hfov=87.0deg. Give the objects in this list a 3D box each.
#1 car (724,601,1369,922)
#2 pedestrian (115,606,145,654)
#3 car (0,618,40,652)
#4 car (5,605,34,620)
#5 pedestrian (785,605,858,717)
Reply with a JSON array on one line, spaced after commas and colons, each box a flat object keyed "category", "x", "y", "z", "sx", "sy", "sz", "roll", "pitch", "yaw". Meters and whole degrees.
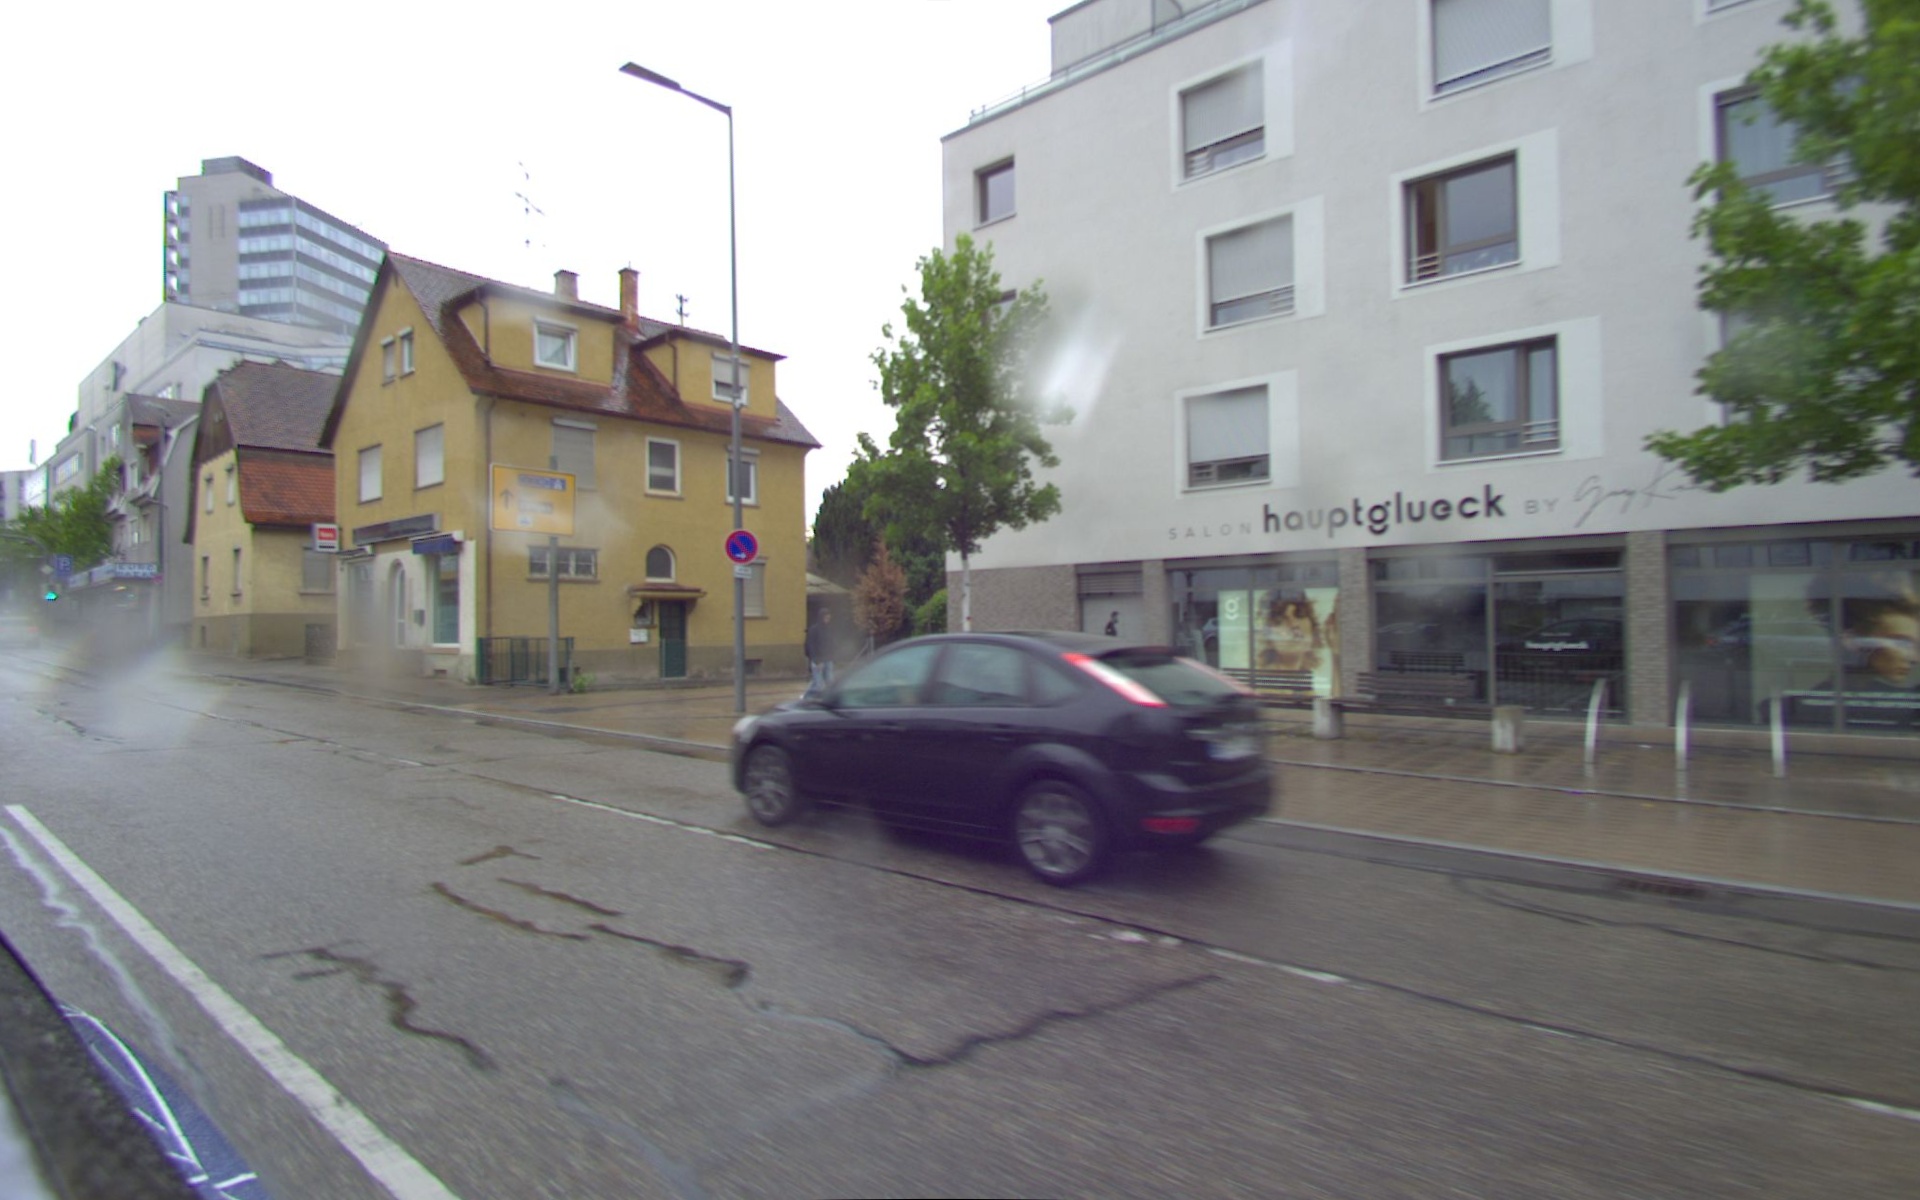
[{"category": "car", "x": 0.394, "y": 0.812, "z": 7.046, "sx": 4.182, "sy": 1.535, "sz": 1.861, "roll": 1, "pitch": -1, "yaw": 41}, {"category": "pedestrian", "x": -34.373, "y": 1.211, "z": 41.913, "sx": 0.944, "sy": 1.935, "sz": 0.656, "roll": 0, "pitch": 1, "yaw": 33}, {"category": "car", "x": -43.503, "y": 1.576, "z": 46.303, "sx": 4.137, "sy": 1.428, "sz": 1.632, "roll": 1, "pitch": -3, "yaw": 42}, {"category": "car", "x": -94.857, "y": 1.218, "z": 102.051, "sx": 3.729, "sy": 1.421, "sz": 1.735, "roll": 1, "pitch": -1, "yaw": 41}, {"category": "pedestrian", "x": -2.319, "y": 0.998, "z": 16.966, "sx": 0.878, "sy": 1.801, "sz": 0.795, "roll": 1, "pitch": -1, "yaw": 29}]
